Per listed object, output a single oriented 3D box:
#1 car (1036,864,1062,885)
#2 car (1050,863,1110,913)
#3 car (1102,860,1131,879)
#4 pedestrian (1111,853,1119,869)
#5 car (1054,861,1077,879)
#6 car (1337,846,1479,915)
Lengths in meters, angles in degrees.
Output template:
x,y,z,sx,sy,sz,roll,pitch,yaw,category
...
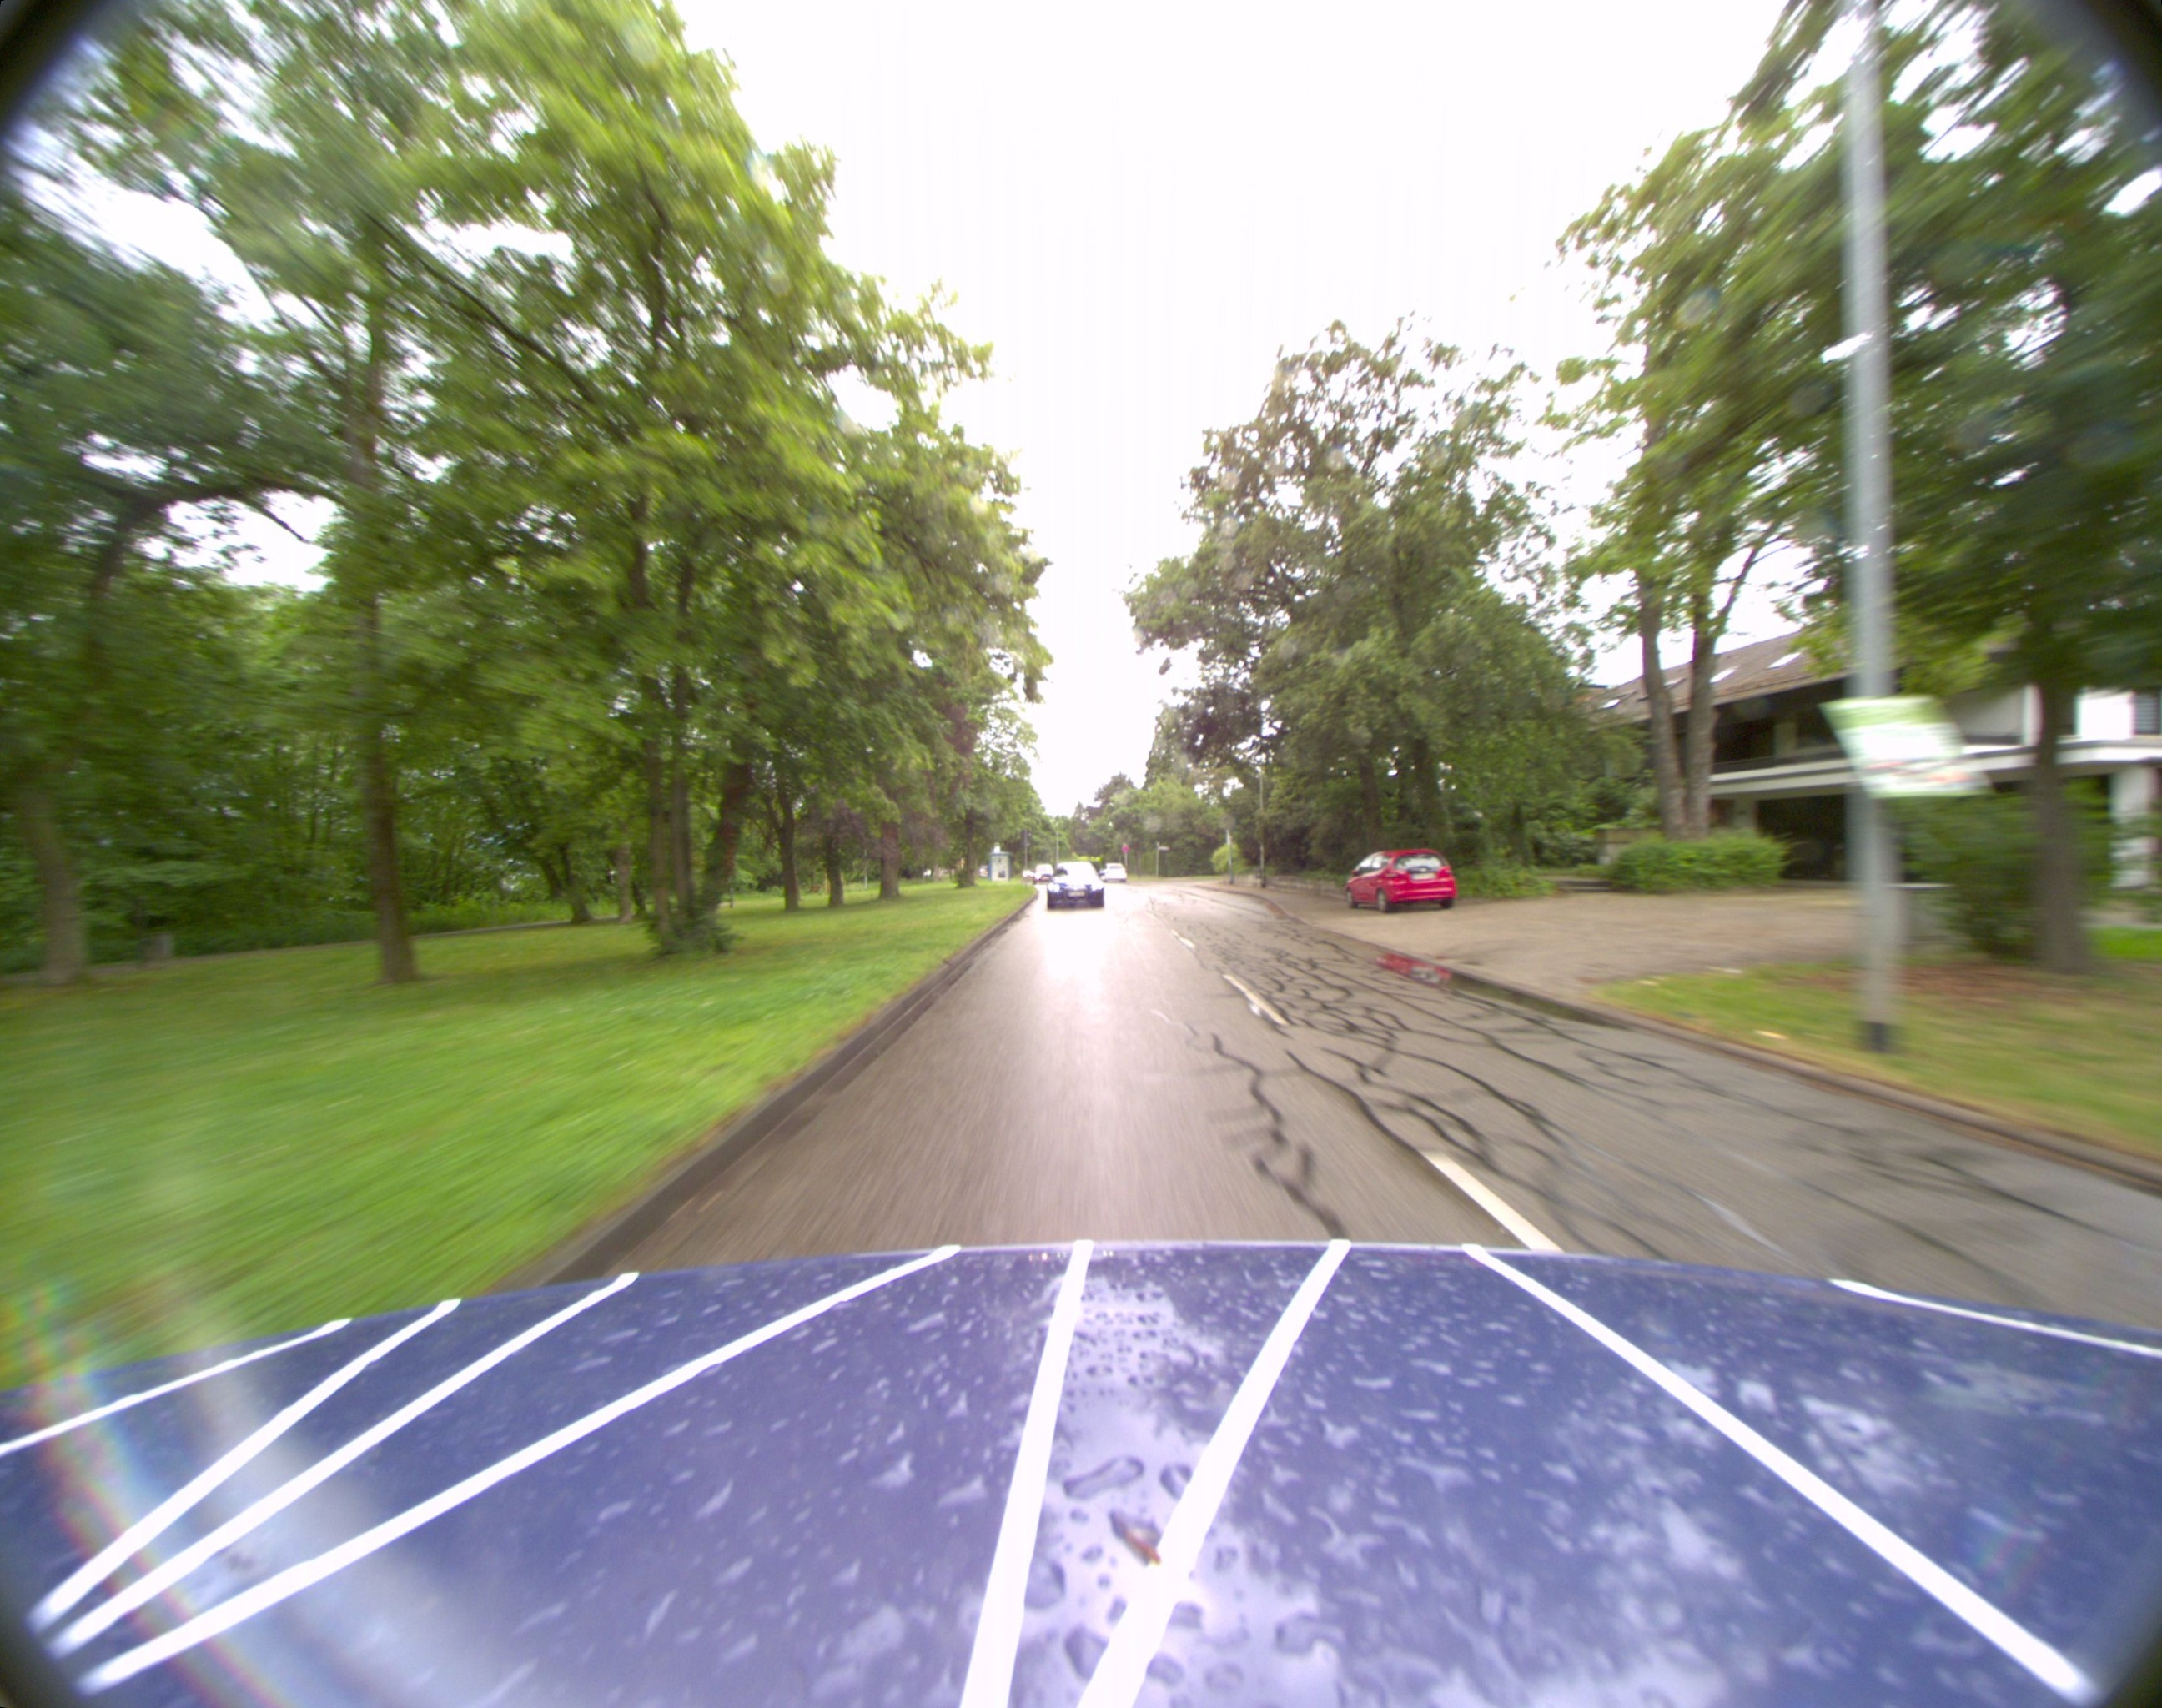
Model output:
x,y,z,sx,sy,sz,roll,pitch,yaw,category
-2.396,1.551,58.231,1.839,1.501,4.000,-1,-1,-1,car
-0.070,1.092,25.736,1.839,1.501,4.000,-1,-1,-1,car
2.755,1.225,59.426,1.706,1.402,4.007,1,-1,-5,car
4.157,0.824,92.894,0.713,1.819,0.881,-8,0,-3,pedestrian
-1.335,1.372,65.409,1.839,1.501,4.000,-1,-1,-2,car
8.321,0.659,19.772,1.998,1.507,4.001,-4,-1,2,car
